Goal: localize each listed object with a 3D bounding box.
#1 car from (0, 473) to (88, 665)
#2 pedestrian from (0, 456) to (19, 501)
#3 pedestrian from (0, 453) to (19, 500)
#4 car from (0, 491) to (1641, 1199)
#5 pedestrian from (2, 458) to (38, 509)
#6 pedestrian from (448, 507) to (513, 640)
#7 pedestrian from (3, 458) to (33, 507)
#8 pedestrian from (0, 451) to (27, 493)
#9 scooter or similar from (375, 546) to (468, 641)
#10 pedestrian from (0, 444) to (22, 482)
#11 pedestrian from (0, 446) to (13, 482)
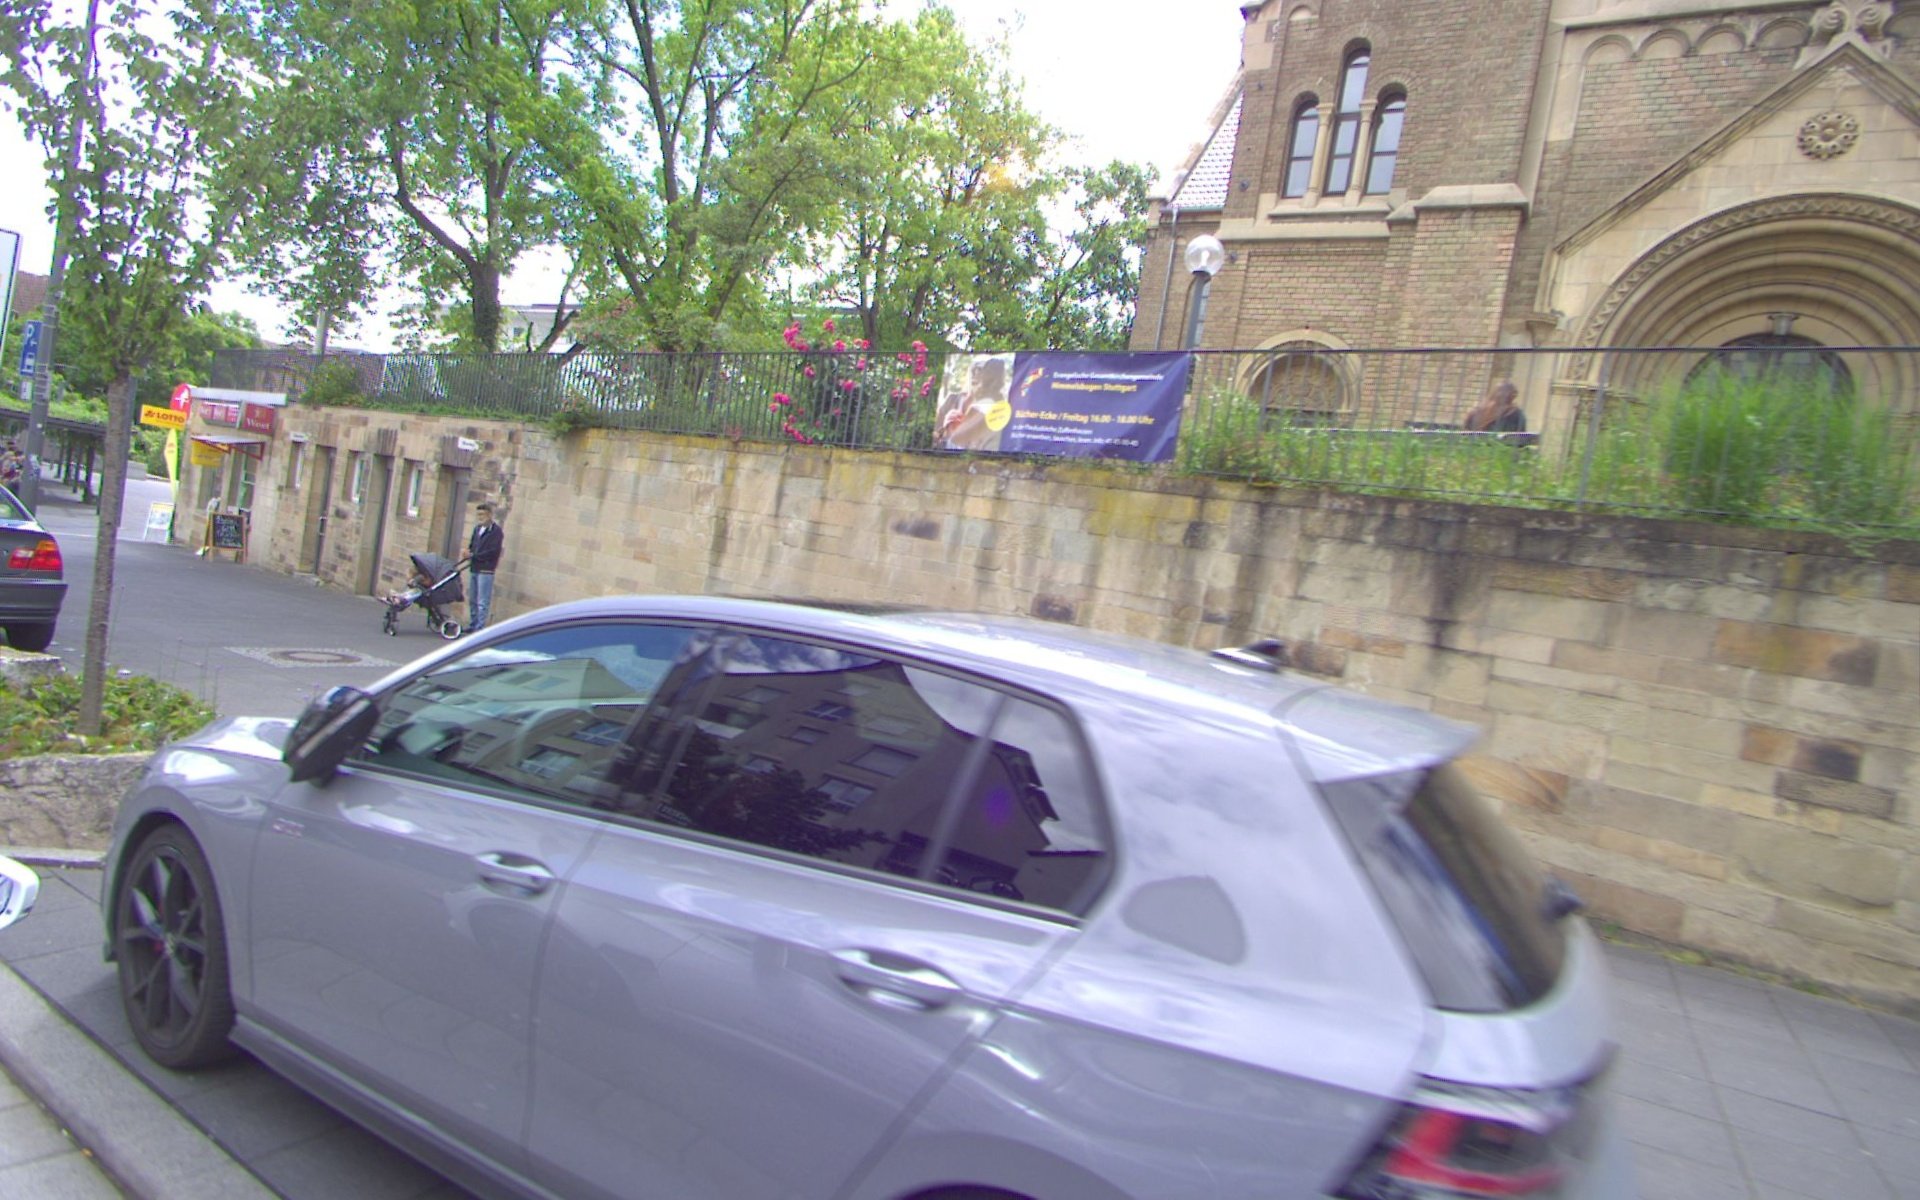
[{"bbox_3d":[-9.213,-0.455,8.461,4.301,1.434,1.682,6,0,34],"label":"car"},{"bbox_3d":[-29.206,-3.728,30.705,0.533,1.278,0.567,12,4,41],"label":"pedestrian"},{"bbox_3d":[-28.705,-3.720,30.210,0.517,1.338,0.497,13,4,41],"label":"pedestrian"},{"bbox_3d":[-0.698,0.651,2.802,4.020,1.459,1.757,7,1,30],"label":"car"},{"bbox_3d":[-27.628,-3.426,29.568,0.577,1.338,0.615,12,4,40],"label":"pedestrian"},{"bbox_3d":[-6.233,-0.343,13.077,0.500,1.667,0.472,8,2,43],"label":"pedestrian"},{"bbox_3d":[-28.082,-3.509,29.998,0.566,1.338,0.494,12,4,40],"label":"pedestrian"},{"bbox_3d":[-32.342,-4.358,34.299,0.538,1.324,0.623,10,3,41],"label":"pedestrian"},{"bbox_3d":[-6.756,-0.079,12.626,0.553,1.086,0.810,8,1,43],"label":"scooter or similar"},{"bbox_3d":[-35.314,-5.073,37.055,0.759,1.284,0.674,9,1,-16],"label":"pedestrian"},{"bbox_3d":[-37.941,-5.403,39.811,0.566,1.340,0.538,8,1,-44],"label":"pedestrian"}]
